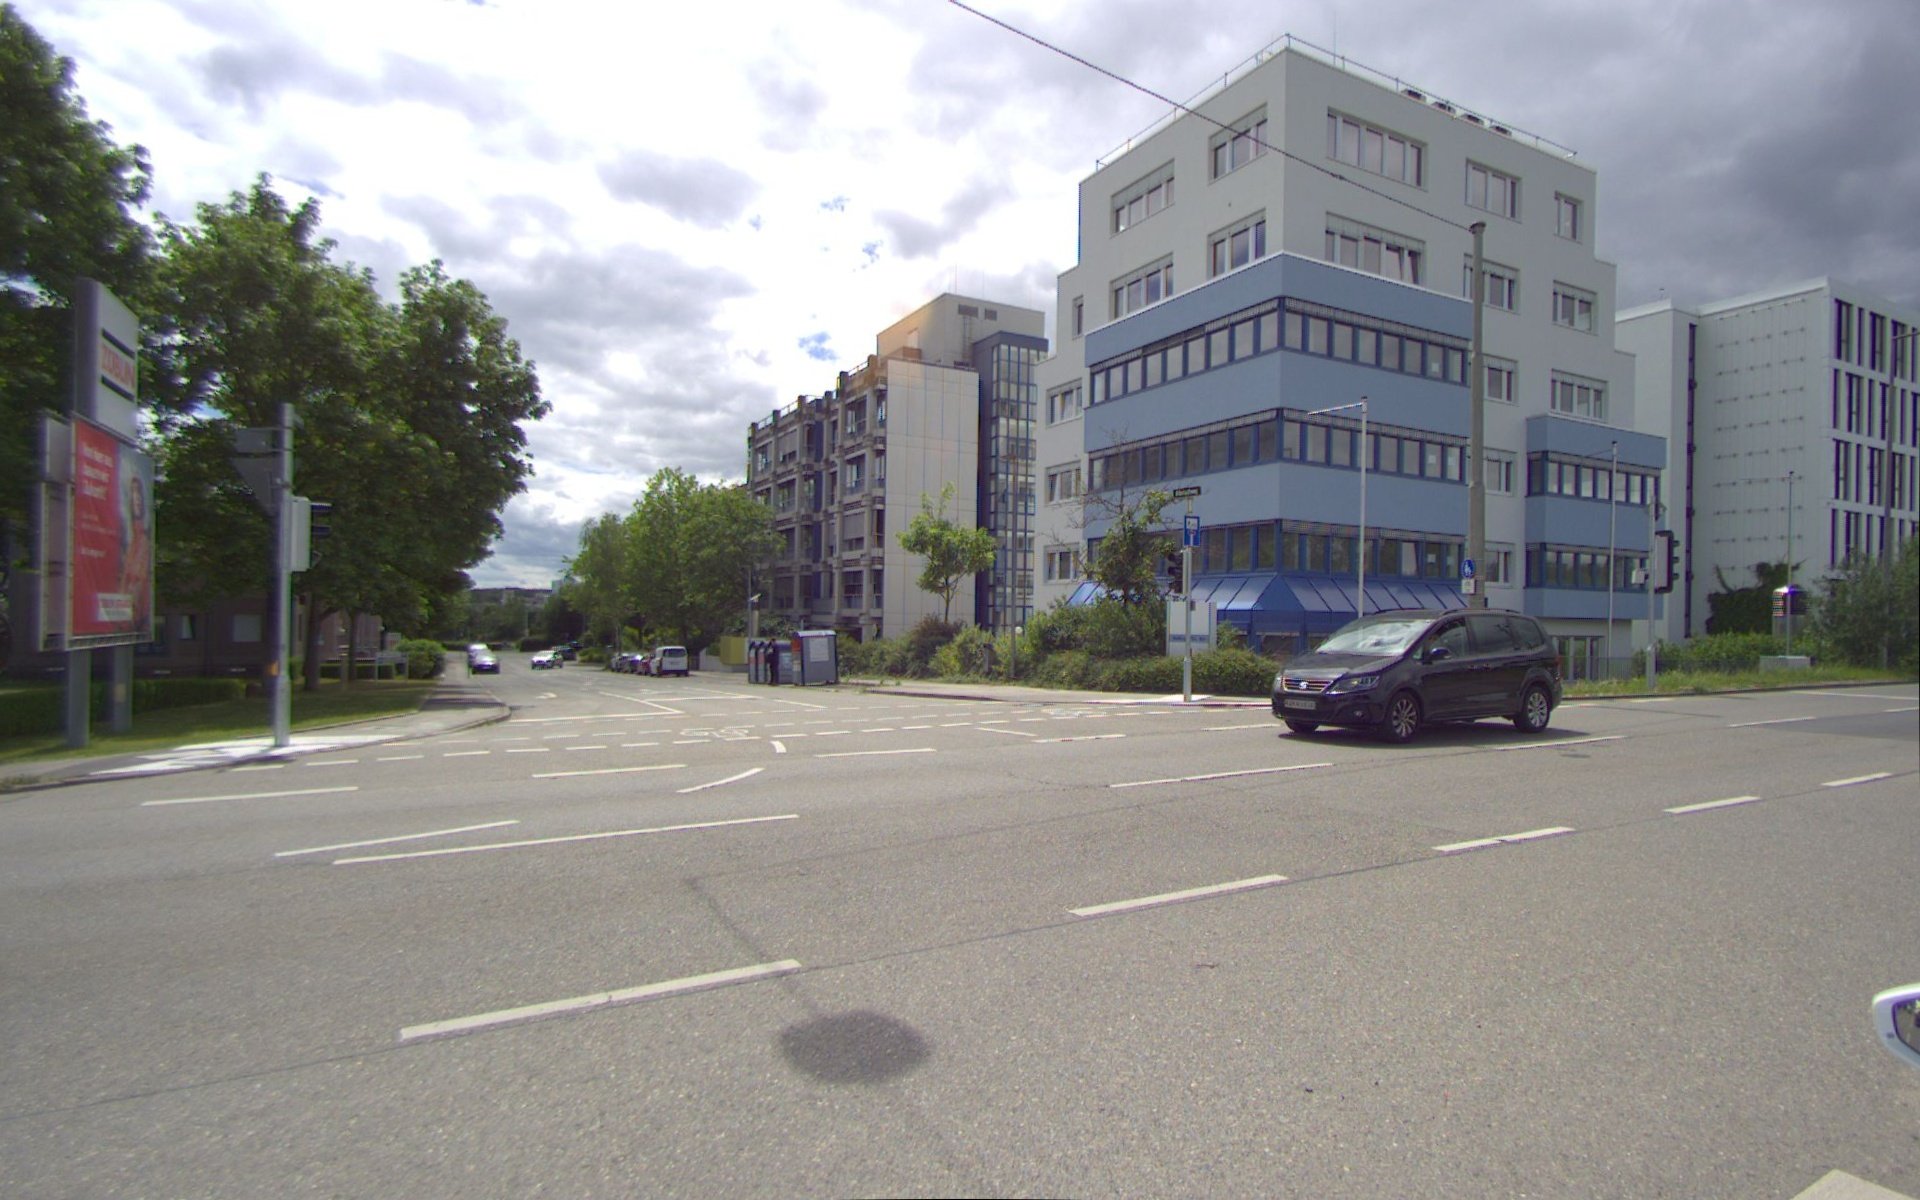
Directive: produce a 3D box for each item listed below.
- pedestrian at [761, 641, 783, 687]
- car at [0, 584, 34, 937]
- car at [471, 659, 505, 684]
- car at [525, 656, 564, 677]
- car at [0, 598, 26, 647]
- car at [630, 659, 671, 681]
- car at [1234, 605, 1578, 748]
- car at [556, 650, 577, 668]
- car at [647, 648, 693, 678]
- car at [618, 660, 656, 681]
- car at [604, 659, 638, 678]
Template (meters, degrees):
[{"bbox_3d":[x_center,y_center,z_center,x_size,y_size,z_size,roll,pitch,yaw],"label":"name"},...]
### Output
[{"bbox_3d":[-6.894,2.353,36.864,0.613,1.666,0.745,1,-4,-28],"label":"pedestrian"},{"bbox_3d":[-5.999,0.704,3.093,4.256,1.639,1.984,1,-1,-31],"label":"car"},{"bbox_3d":[-33.980,5.103,72.289,1.975,1.528,3.970,1,-1,-28],"label":"car"},{"bbox_3d":[-34.595,5.513,83.778,1.963,1.528,3.995,1,-1,-7],"label":"car"},{"bbox_3d":[-46.538,1.018,47.901,1.976,2.272,3.969,1,0,-29],"label":"car"},{"bbox_3d":[-19.933,4.485,64.542,1.974,1.347,3.631,1,-4,-27],"label":"car"},{"bbox_3d":[6.328,0.976,14.159,4.701,1.725,1.986,1,-1,-28],"label":"car"},{"bbox_3d":[-45.421,6.753,115.888,1.973,2.040,3.976,1,-3,-25],"label":"car"},{"bbox_3d":[-17.208,3.718,59.473,1.974,1.714,3.631,1,-4,-27],"label":"car"},{"bbox_3d":[-22.286,4.866,69.288,1.974,1.347,3.631,1,-4,-27],"label":"car"},{"bbox_3d":[-25.235,5.062,74.719,1.974,1.347,3.631,1,-4,-27],"label":"car"}]
